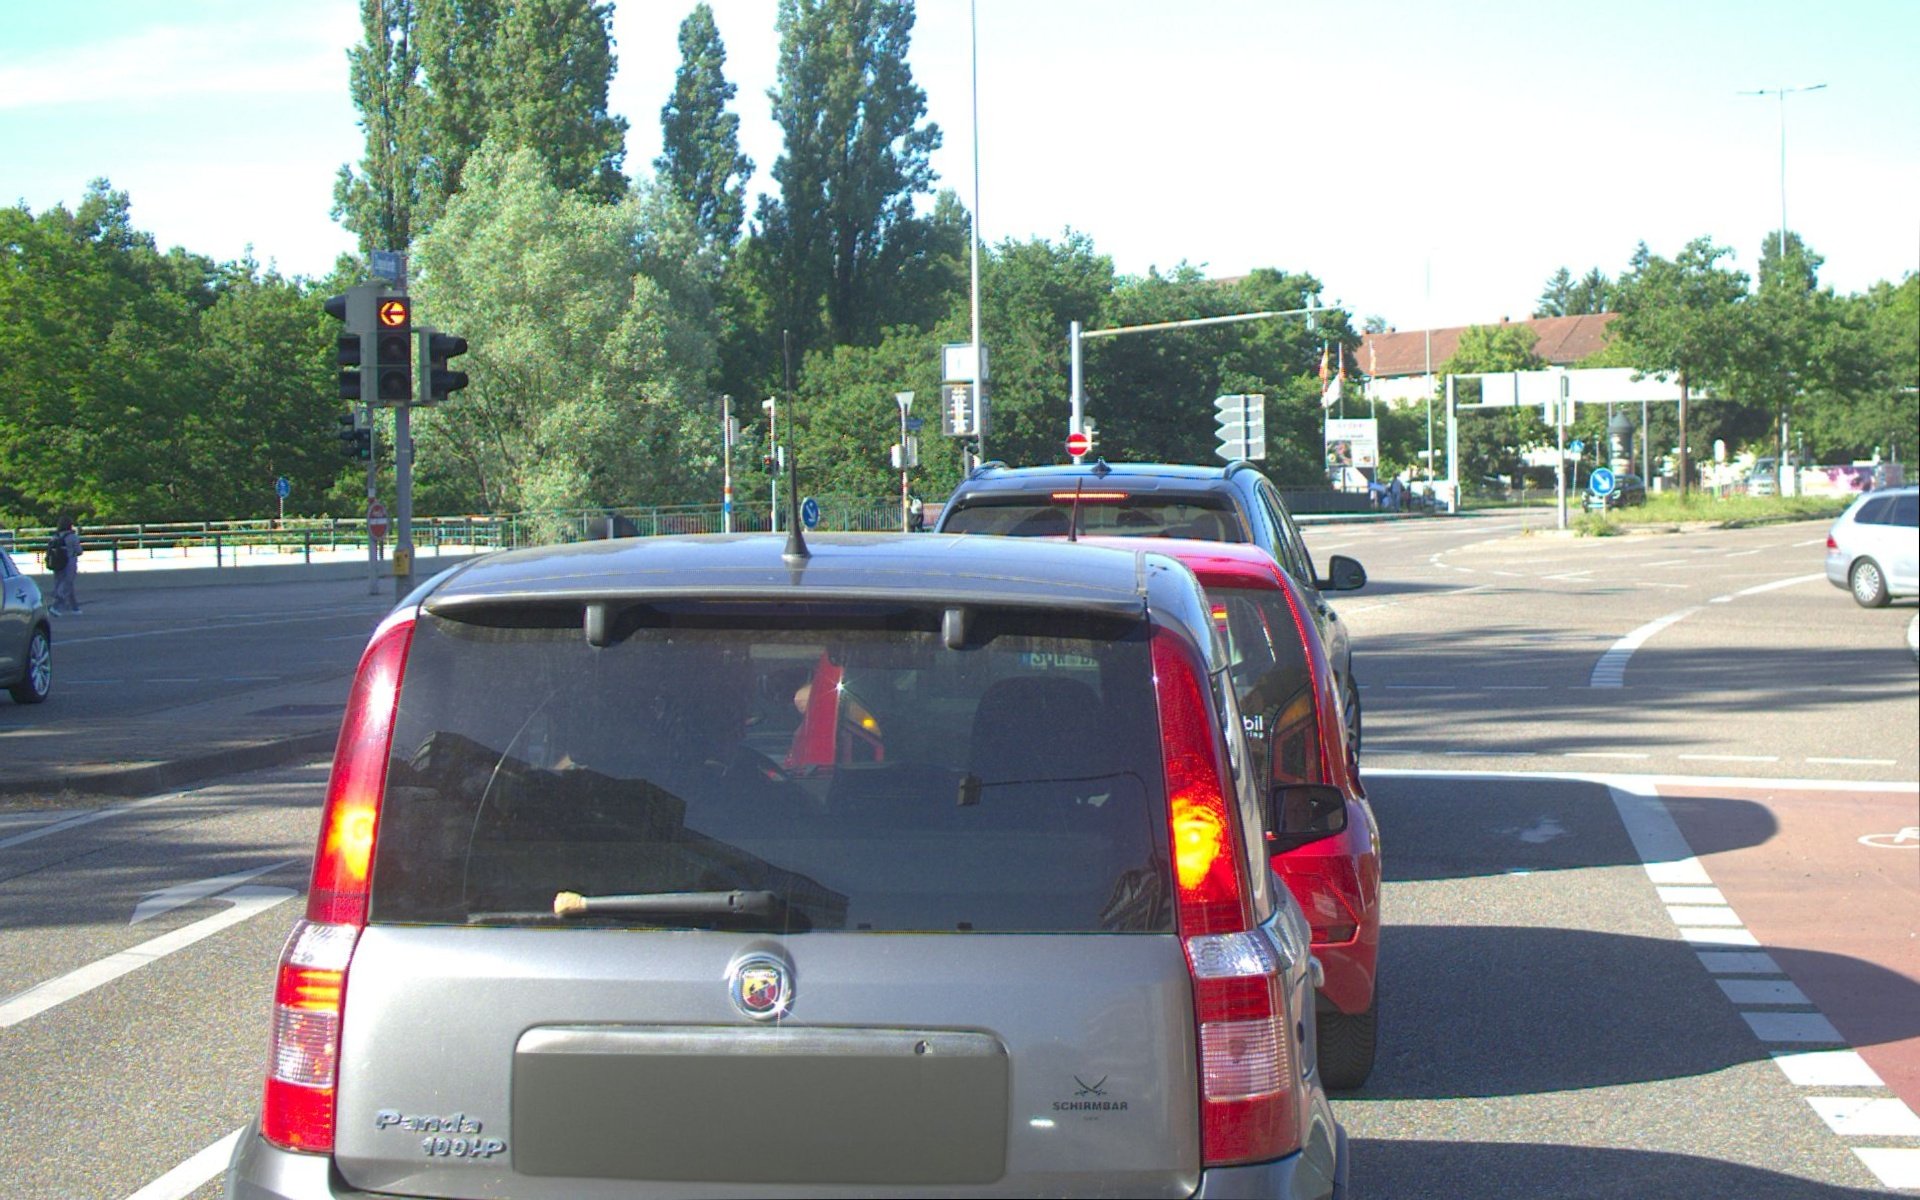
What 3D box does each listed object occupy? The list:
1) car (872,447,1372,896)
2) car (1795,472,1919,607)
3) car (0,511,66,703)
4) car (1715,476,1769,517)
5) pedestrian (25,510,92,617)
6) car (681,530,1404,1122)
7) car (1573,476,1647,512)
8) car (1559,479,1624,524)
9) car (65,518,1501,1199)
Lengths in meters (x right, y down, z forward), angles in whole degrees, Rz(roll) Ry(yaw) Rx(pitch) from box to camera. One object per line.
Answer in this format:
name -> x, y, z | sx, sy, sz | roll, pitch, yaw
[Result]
car -> 0.905, 0.211, 16.121 | 1.869, 1.784, 4.413 | 1, 2, 9
car -> 11.662, -0.694, 39.297 | 1.750, 1.488, 4.350 | -2, 3, -26
car -> -8.198, 0.086, 25.915 | 1.686, 1.452, 3.913 | -1, 2, 3
car -> 38.902, -5.147, 171.015 | 2.015, 1.848, 4.881 | 0, -1, 20
pedestrian -> -13.675, -0.542, 52.181 | 0.686, 1.533, 1.366 | 0, -4, -3
car -> 0.287, 0.531, 10.746 | 1.820, 1.474, 4.000 | 1, 1, 2
car -> 28.958, -4.721, 153.097 | 2.016, 1.540, 4.880 | 0, 2, 26
car -> 28.765, -4.478, 156.480 | 2.015, 1.848, 4.425 | 0, -1, 23
car -> -0.138, 0.623, 6.389 | 1.820, 1.484, 4.000 | 2, 2, 3
